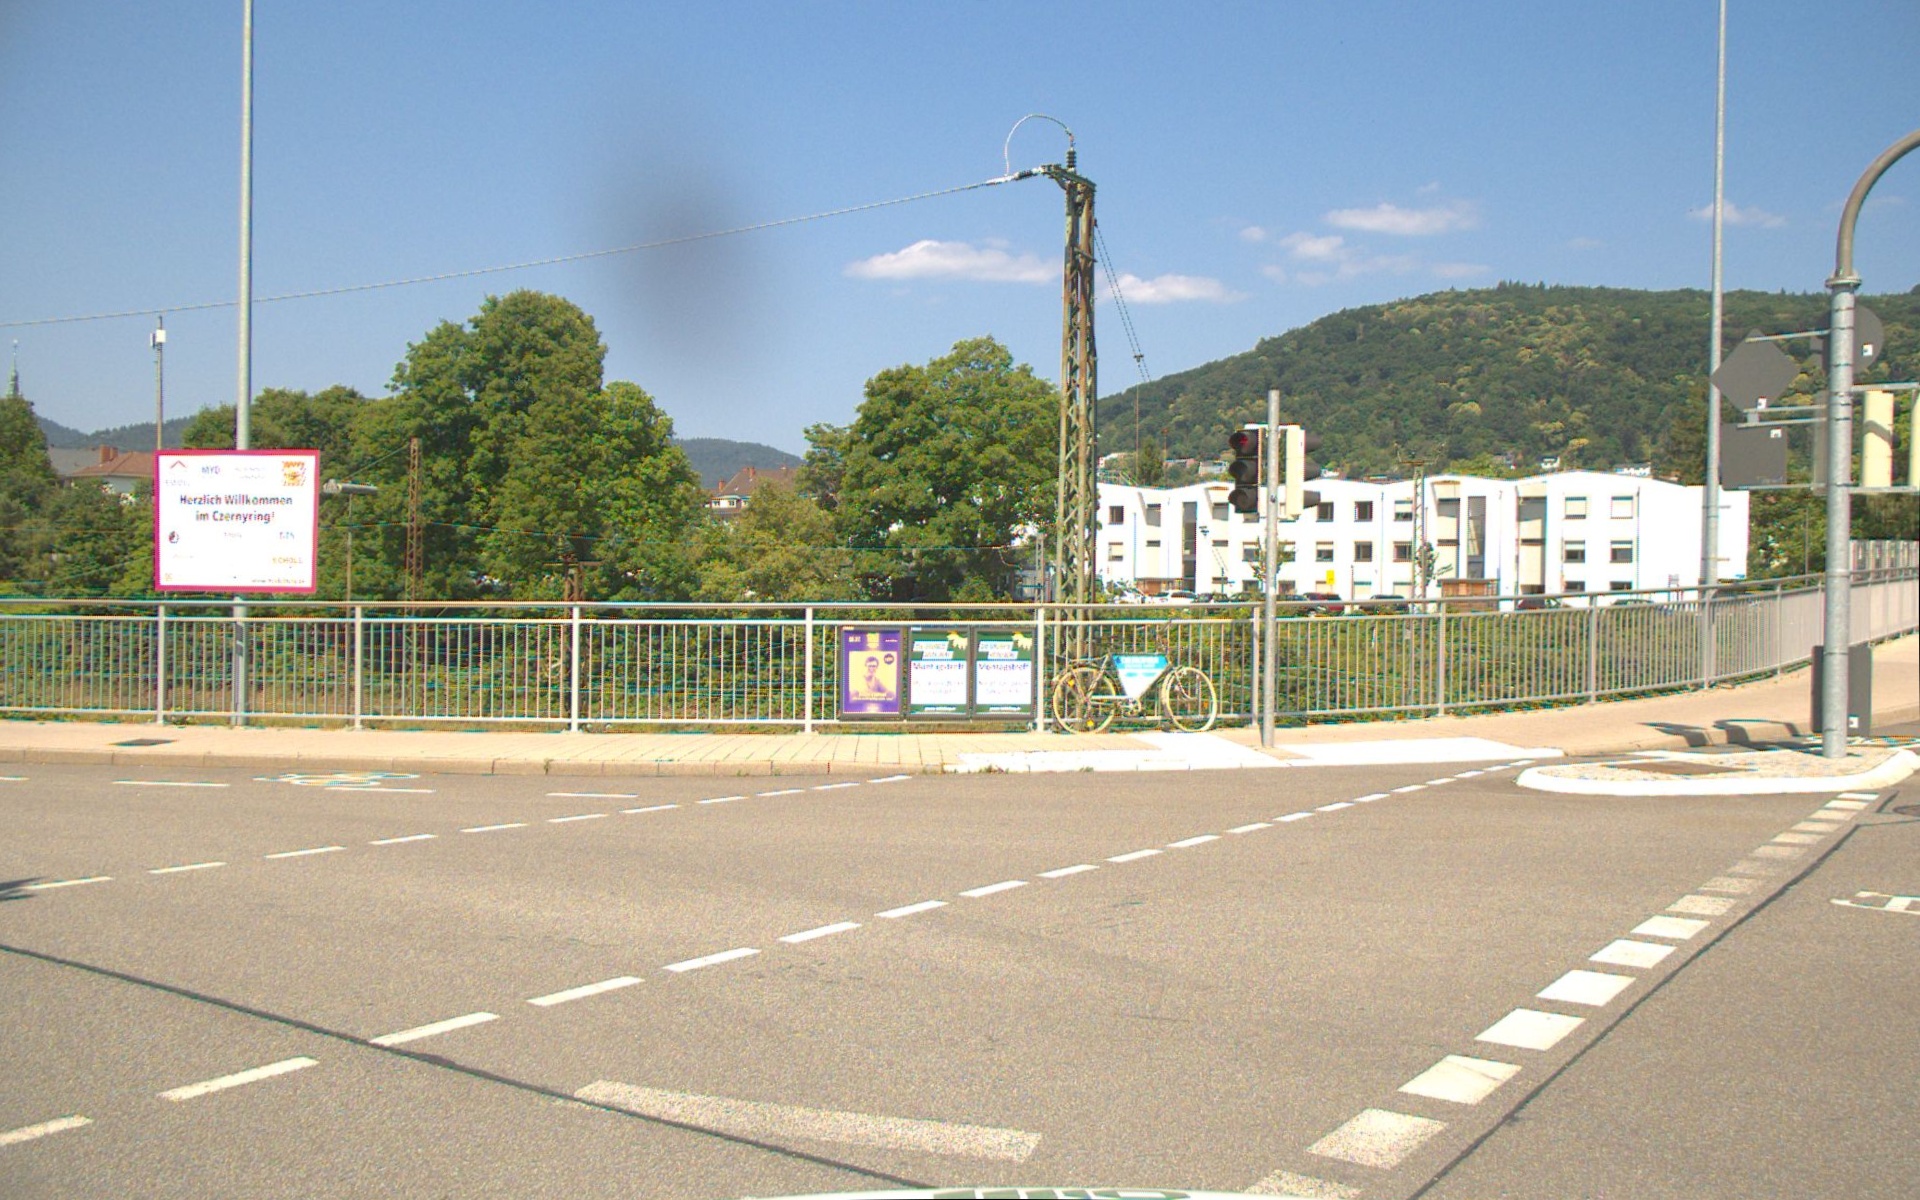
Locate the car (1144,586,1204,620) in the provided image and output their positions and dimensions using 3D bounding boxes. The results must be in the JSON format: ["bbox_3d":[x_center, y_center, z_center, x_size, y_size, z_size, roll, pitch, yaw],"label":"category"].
[{"bbox_3d":[13.505,0.173,104.304,1.959,2.049,4.456,1,1,34],"label":"car"}]

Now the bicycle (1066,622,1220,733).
[{"bbox_3d":[1.910,0.798,17.245,1.587,1.120,0.297,0,1,-13],"label":"bicycle"}]

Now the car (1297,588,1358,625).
[{"bbox_3d":[21.492,0.344,96.539,1.959,2.049,4.456,1,1,34],"label":"car"}]

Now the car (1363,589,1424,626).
[{"bbox_3d":[24.674,0.402,93.990,1.959,2.049,4.456,1,1,34],"label":"car"}]

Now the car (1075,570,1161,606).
[{"bbox_3d":[9.542,-0.749,100.007,4.870,2.149,2.001,1,1,18],"label":"car"}]
